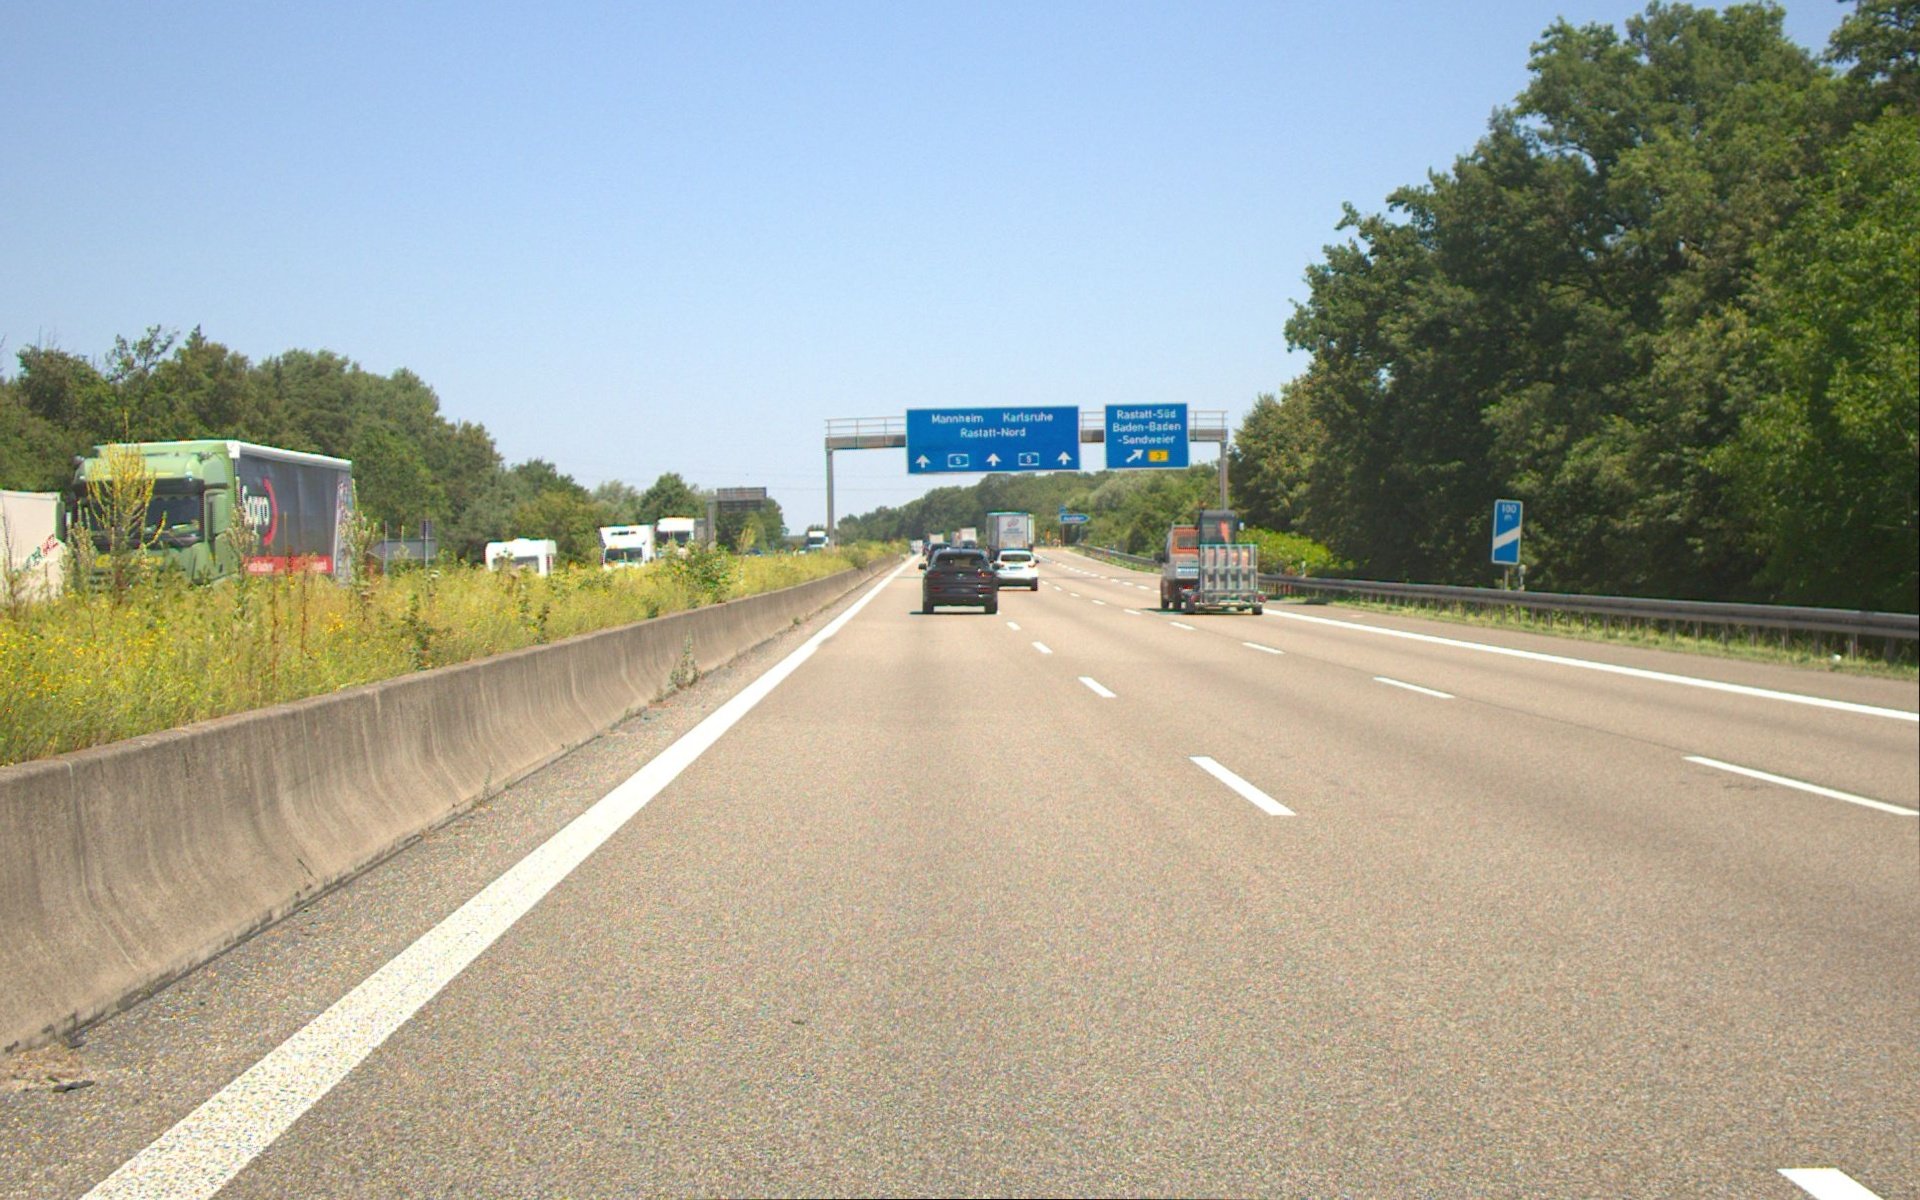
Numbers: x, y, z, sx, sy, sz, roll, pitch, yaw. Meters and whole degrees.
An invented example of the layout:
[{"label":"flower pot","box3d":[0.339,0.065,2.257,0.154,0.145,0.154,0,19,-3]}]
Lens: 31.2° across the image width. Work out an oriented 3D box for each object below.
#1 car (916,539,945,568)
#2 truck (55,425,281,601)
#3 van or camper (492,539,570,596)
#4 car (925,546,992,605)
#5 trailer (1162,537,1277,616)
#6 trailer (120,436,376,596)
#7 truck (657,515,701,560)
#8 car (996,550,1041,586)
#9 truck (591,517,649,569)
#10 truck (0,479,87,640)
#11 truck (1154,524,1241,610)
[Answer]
[{"label":"car","box3d":[-2.167,-3.343,248.364,1.993,2.007,4.000,-2,0,-1]},{"label":"truck","box3d":[-14.336,-1.553,62.735,2.606,2.998,6.972,-1,1,-1]},{"label":"van or camper","box3d":[-15.423,-1.163,123.857,2.221,2.007,5.888,0,1,-2]},{"label":"car","box3d":[-0.065,-0.681,92.154,1.660,1.544,3.783,0,1,-2]},{"label":"trailer","box3d":[6.840,-0.667,91.195,2.420,2.007,6.034,0,1,-2]},{"label":"trailer","box3d":[-14.508,-1.676,71.309,2.642,2.959,14.234,-1,1,-1]},{"label":"truck","box3d":[-19.856,-4.429,242.988,2.642,3.073,5.848,0,1,0]},{"label":"car","box3d":[2.411,-1.324,141.909,1.740,1.481,4.000,0,1,-1]},{"label":"truck","box3d":[-15.583,-2.585,157.910,2.310,2.318,6.081,0,1,-3]},{"label":"truck","box3d":[-18.833,-0.743,63.841,2.687,2.932,10.487,-1,1,-1]},{"label":"truck","box3d":[6.645,-0.953,96.543,1.993,2.365,4.645,0,1,-2]}]
